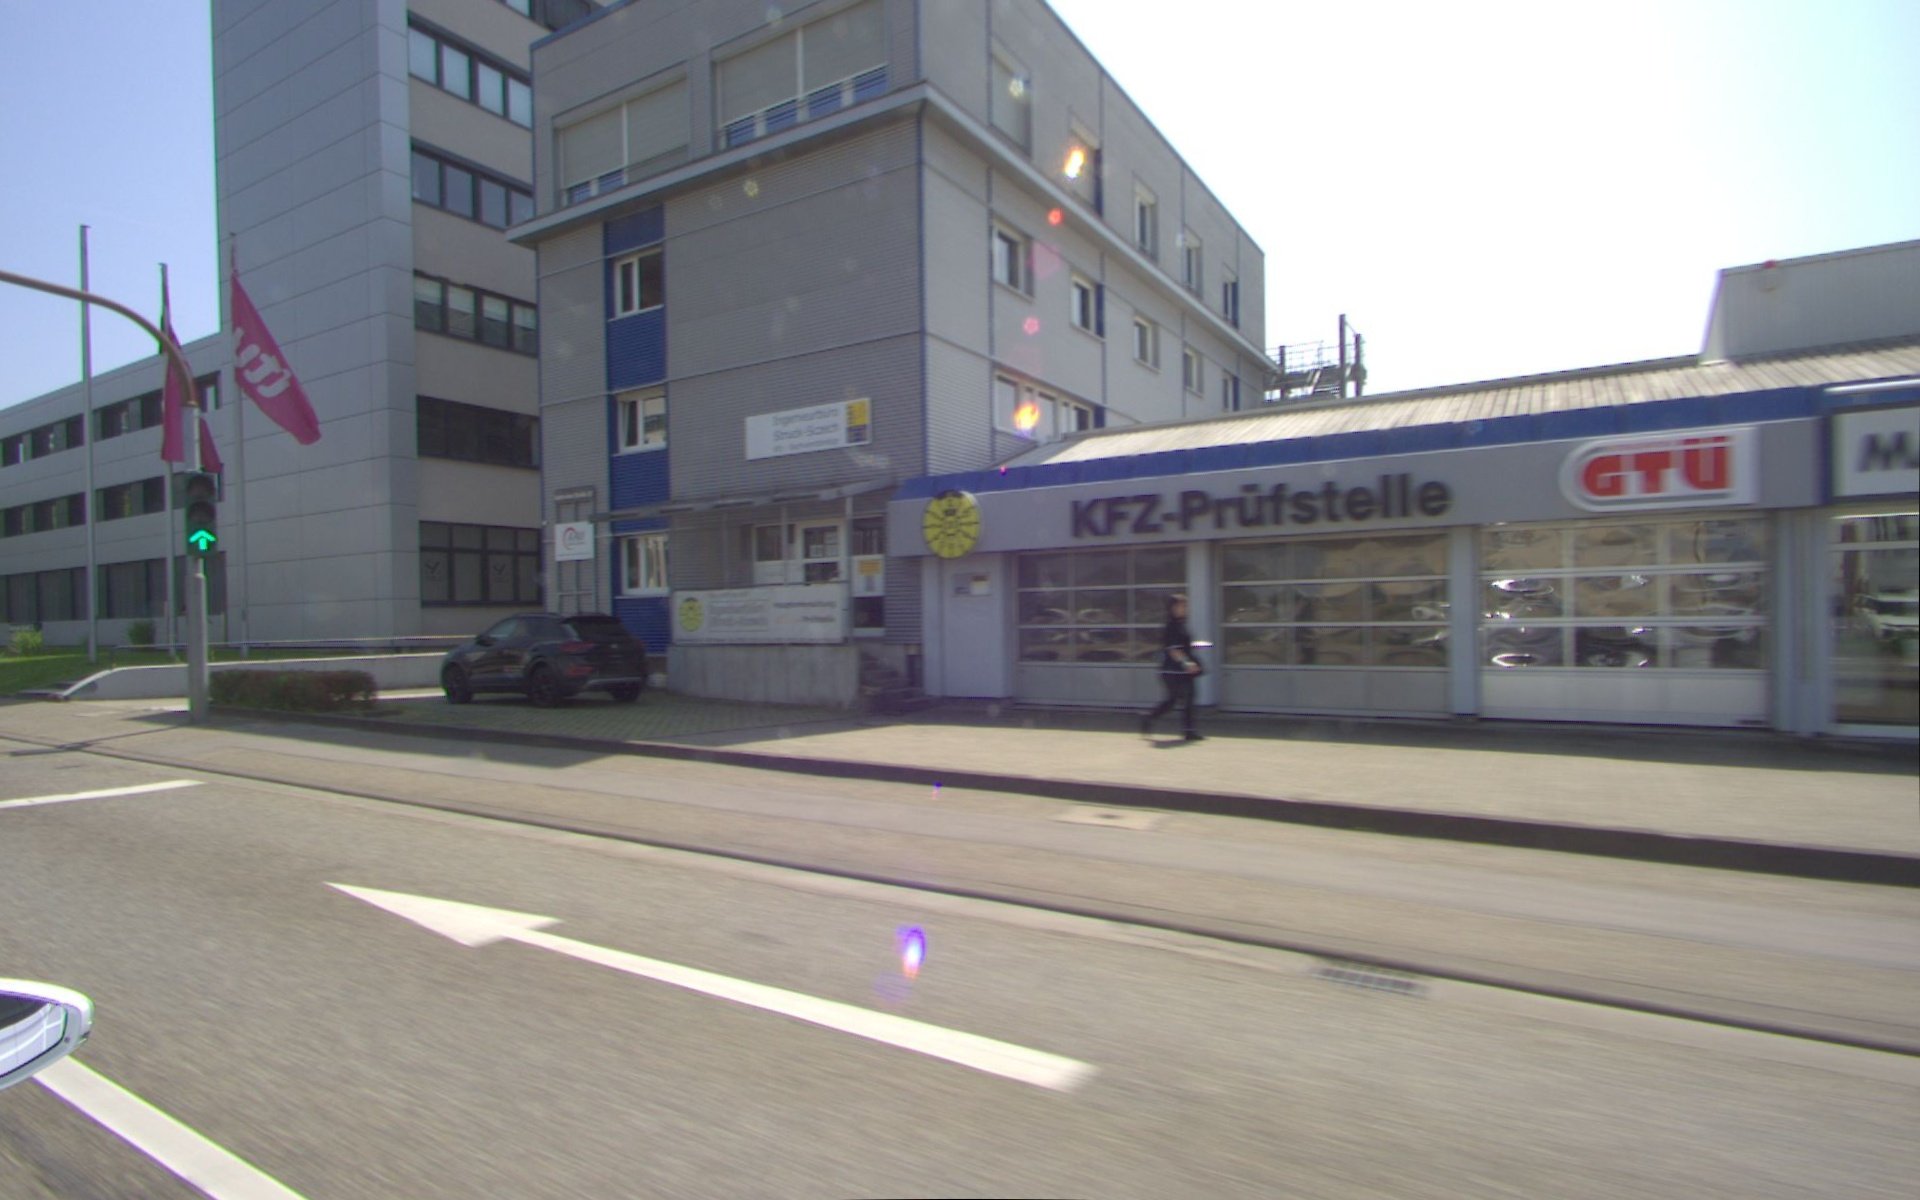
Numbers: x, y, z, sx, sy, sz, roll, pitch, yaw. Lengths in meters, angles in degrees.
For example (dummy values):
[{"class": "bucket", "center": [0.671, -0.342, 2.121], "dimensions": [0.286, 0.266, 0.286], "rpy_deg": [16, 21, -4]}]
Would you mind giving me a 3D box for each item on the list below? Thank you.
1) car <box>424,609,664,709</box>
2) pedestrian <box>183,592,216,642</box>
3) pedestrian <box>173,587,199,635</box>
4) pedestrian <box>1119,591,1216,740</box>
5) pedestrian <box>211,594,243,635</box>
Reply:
[{"class": "car", "center": [-7.289, 0.980, 17.442], "dimensions": [4.137, 1.551, 1.841], "rpy_deg": [-1, -2, 33]}, {"class": "pedestrian", "center": [-25.905, 0.576, 34.112], "dimensions": [0.743, 1.685, 0.522], "rpy_deg": [-1, 1, 15]}, {"class": "pedestrian", "center": [-26.947, 0.390, 34.868], "dimensions": [0.517, 1.656, 0.590], "rpy_deg": [0, 1, 40]}, {"class": "pedestrian", "center": [2.427, 0.733, 11.678], "dimensions": [0.841, 1.648, 0.807], "rpy_deg": [-1, 1, 35]}, {"class": "pedestrian", "center": [-25.606, 0.517, 34.982], "dimensions": [0.786, 1.424, 0.522], "rpy_deg": [-1, 1, 22]}]
